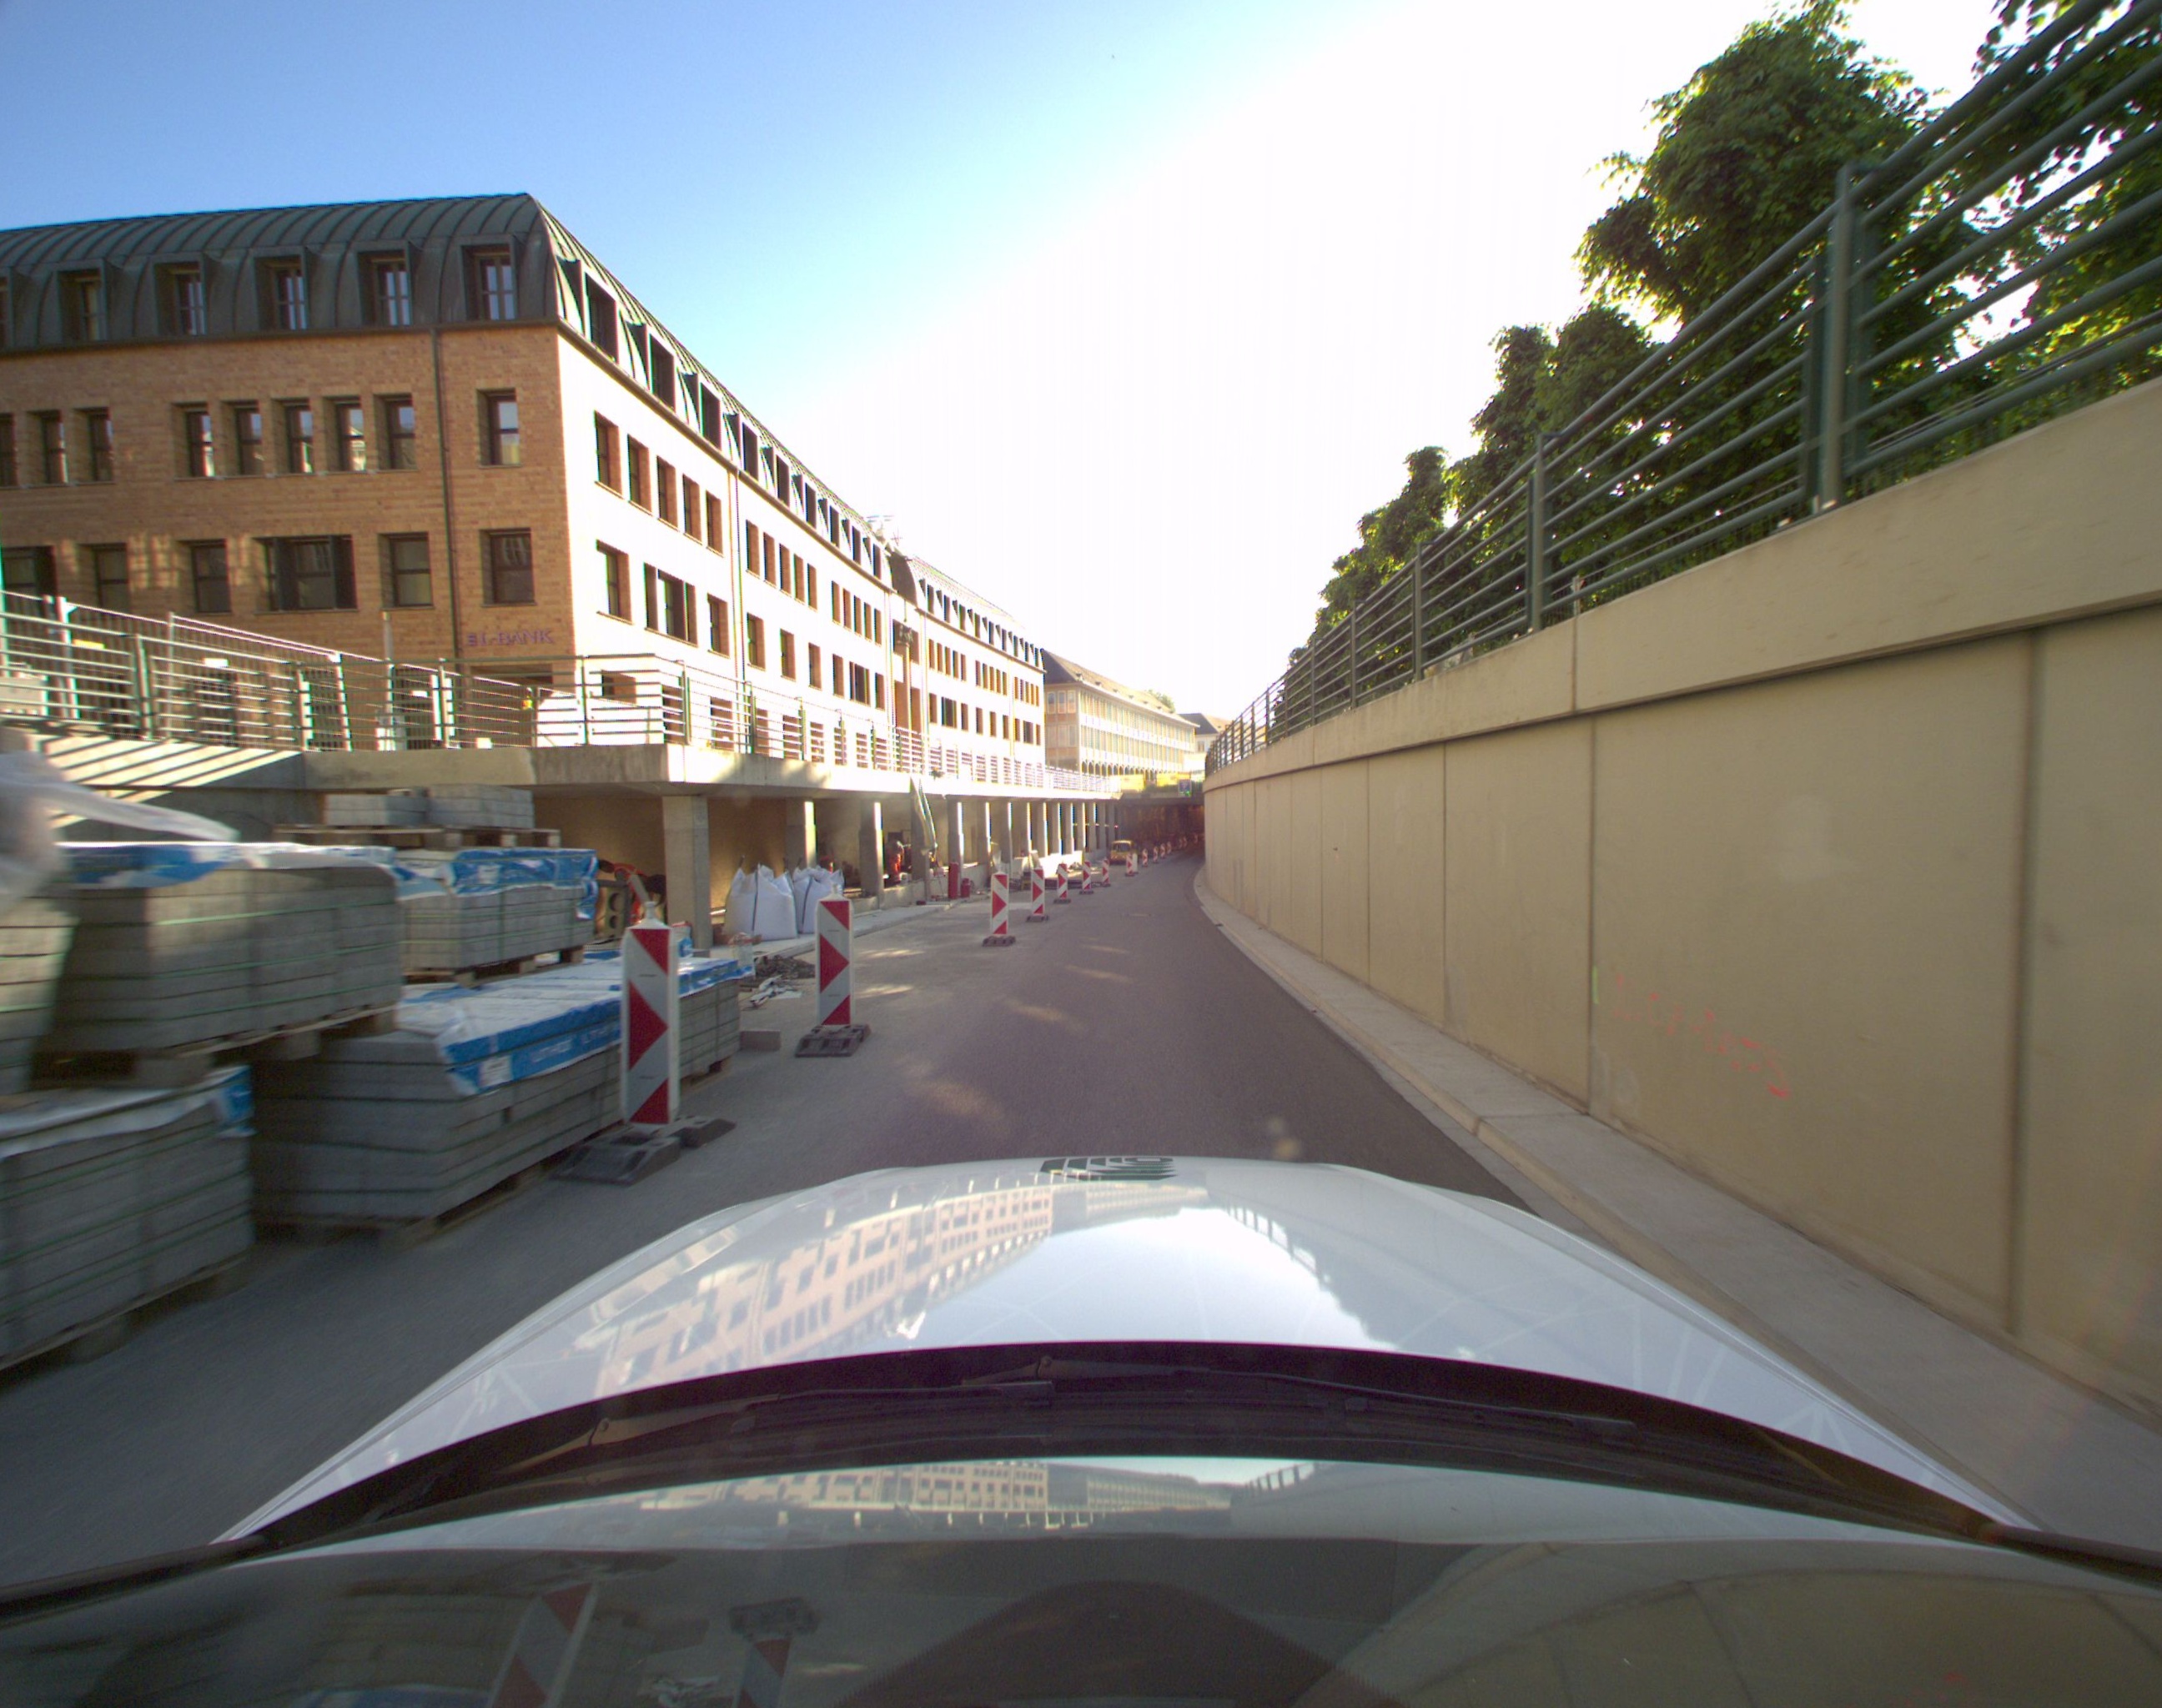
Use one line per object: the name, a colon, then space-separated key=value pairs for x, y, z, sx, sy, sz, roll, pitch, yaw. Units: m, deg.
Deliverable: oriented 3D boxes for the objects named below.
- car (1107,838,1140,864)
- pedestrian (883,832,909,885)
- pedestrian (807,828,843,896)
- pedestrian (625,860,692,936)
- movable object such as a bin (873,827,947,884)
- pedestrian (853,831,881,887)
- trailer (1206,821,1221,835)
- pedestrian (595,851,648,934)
car: x=3.242 y=-0.266 z=61.482 sx=1.836 sy=1.775 sz=4.450 roll=0 pitch=3 yaw=12
pedestrian: x=-6.355 y=0.148 z=27.941 sx=0.652 sy=1.805 sz=0.627 roll=0 pitch=0 yaw=13
pedestrian: x=-7.512 y=0.223 z=23.967 sx=0.674 sy=1.957 sz=0.938 roll=1 pitch=0 yaw=6
pedestrian: x=-8.106 y=0.826 z=15.667 sx=0.869 sy=1.398 sz=0.782 roll=-1 pitch=0 yaw=-3
movable object such as a bin: x=-6.247 y=0.022 z=30.062 sx=1.877 sy=1.987 sz=3.162 roll=0 pitch=1 yaw=4
pedestrian: x=-7.139 y=0.161 z=27.239 sx=0.701 sy=1.814 sz=0.710 roll=0 pitch=0 yaw=4
trailer: x=17.932 y=-3.516 z=110.077 sx=1.568 sy=1.797 sz=2.954 roll=1 pitch=4 yaw=18
pedestrian: x=-8.997 y=0.742 z=15.966 sx=0.648 sy=1.579 sz=0.630 roll=-1 pitch=0 yaw=-4
